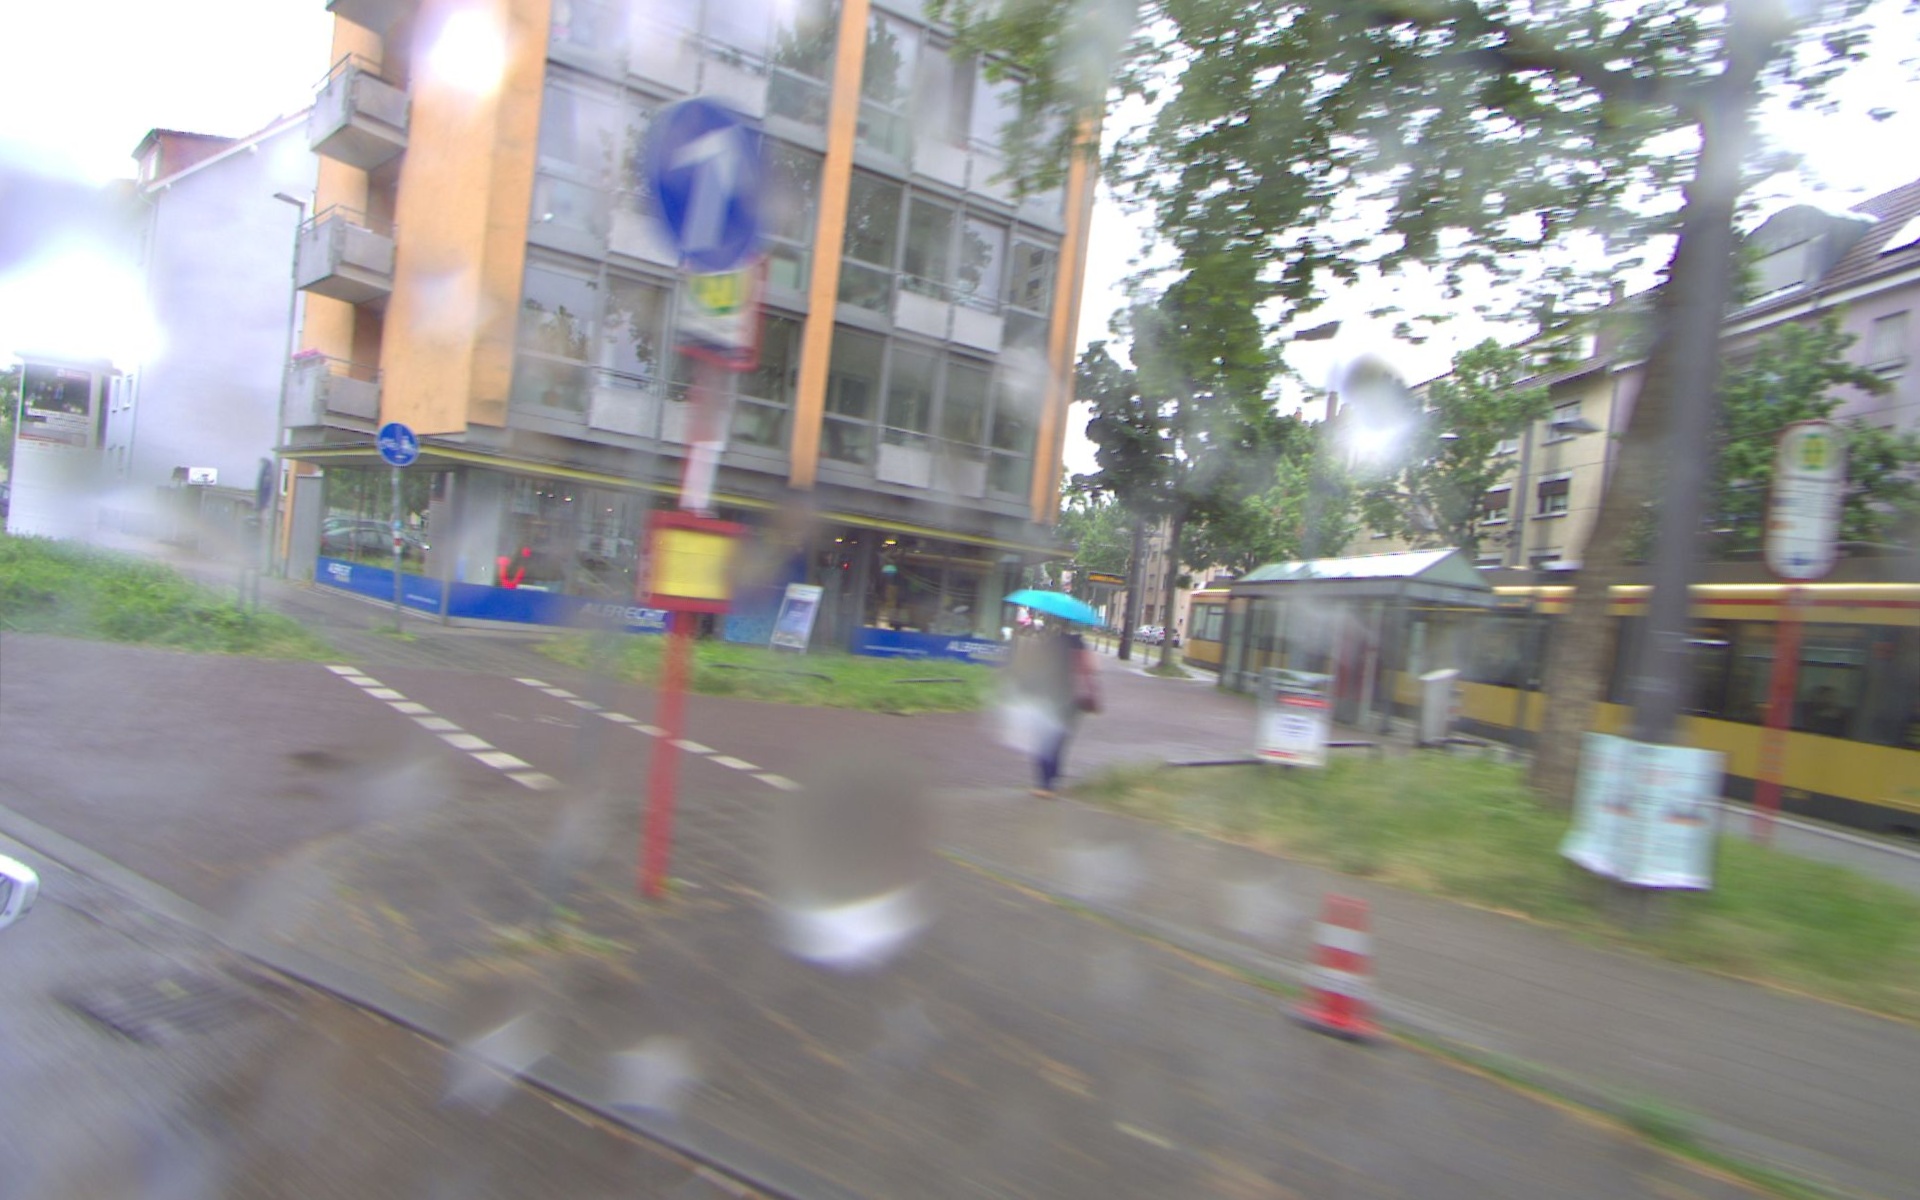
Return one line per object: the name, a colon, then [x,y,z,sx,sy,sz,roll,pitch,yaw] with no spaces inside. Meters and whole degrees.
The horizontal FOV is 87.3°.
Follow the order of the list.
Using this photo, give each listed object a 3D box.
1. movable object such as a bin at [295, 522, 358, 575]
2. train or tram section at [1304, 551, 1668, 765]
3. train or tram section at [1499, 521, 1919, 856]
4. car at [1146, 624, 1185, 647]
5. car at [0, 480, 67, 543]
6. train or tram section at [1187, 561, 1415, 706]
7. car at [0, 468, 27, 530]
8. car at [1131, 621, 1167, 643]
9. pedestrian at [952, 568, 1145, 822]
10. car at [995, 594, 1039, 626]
movable object such as a bin: [-19.179,-1.565,30.460,1.201,1.400,1.197,8,1,40]
train or tram section: [10.520,1.006,21.550,2.599,3.392,8.370,7,0,-4]
train or tram section: [10.971,1.039,13.187,2.598,3.411,8.371,7,0,-3]
car: [15.559,2.671,76.331,1.771,1.416,3.996,7,0,-4]
car: [-26.310,-2.523,26.070,1.956,1.488,4.524,7,0,42]
train or tram section: [9.857,0.852,30.709,2.599,3.392,9.980,7,0,-4]
car: [-31.091,-3.304,30.193,1.916,1.828,4.227,7,1,39]
car: [15.188,2.564,81.229,1.771,1.416,3.996,7,0,-4]
pedestrian: [0.810,0.770,8.724,1.152,1.888,1.385,7,1,19]
car: [3.061,0.510,54.652,1.771,1.416,3.996,7,0,-4]
